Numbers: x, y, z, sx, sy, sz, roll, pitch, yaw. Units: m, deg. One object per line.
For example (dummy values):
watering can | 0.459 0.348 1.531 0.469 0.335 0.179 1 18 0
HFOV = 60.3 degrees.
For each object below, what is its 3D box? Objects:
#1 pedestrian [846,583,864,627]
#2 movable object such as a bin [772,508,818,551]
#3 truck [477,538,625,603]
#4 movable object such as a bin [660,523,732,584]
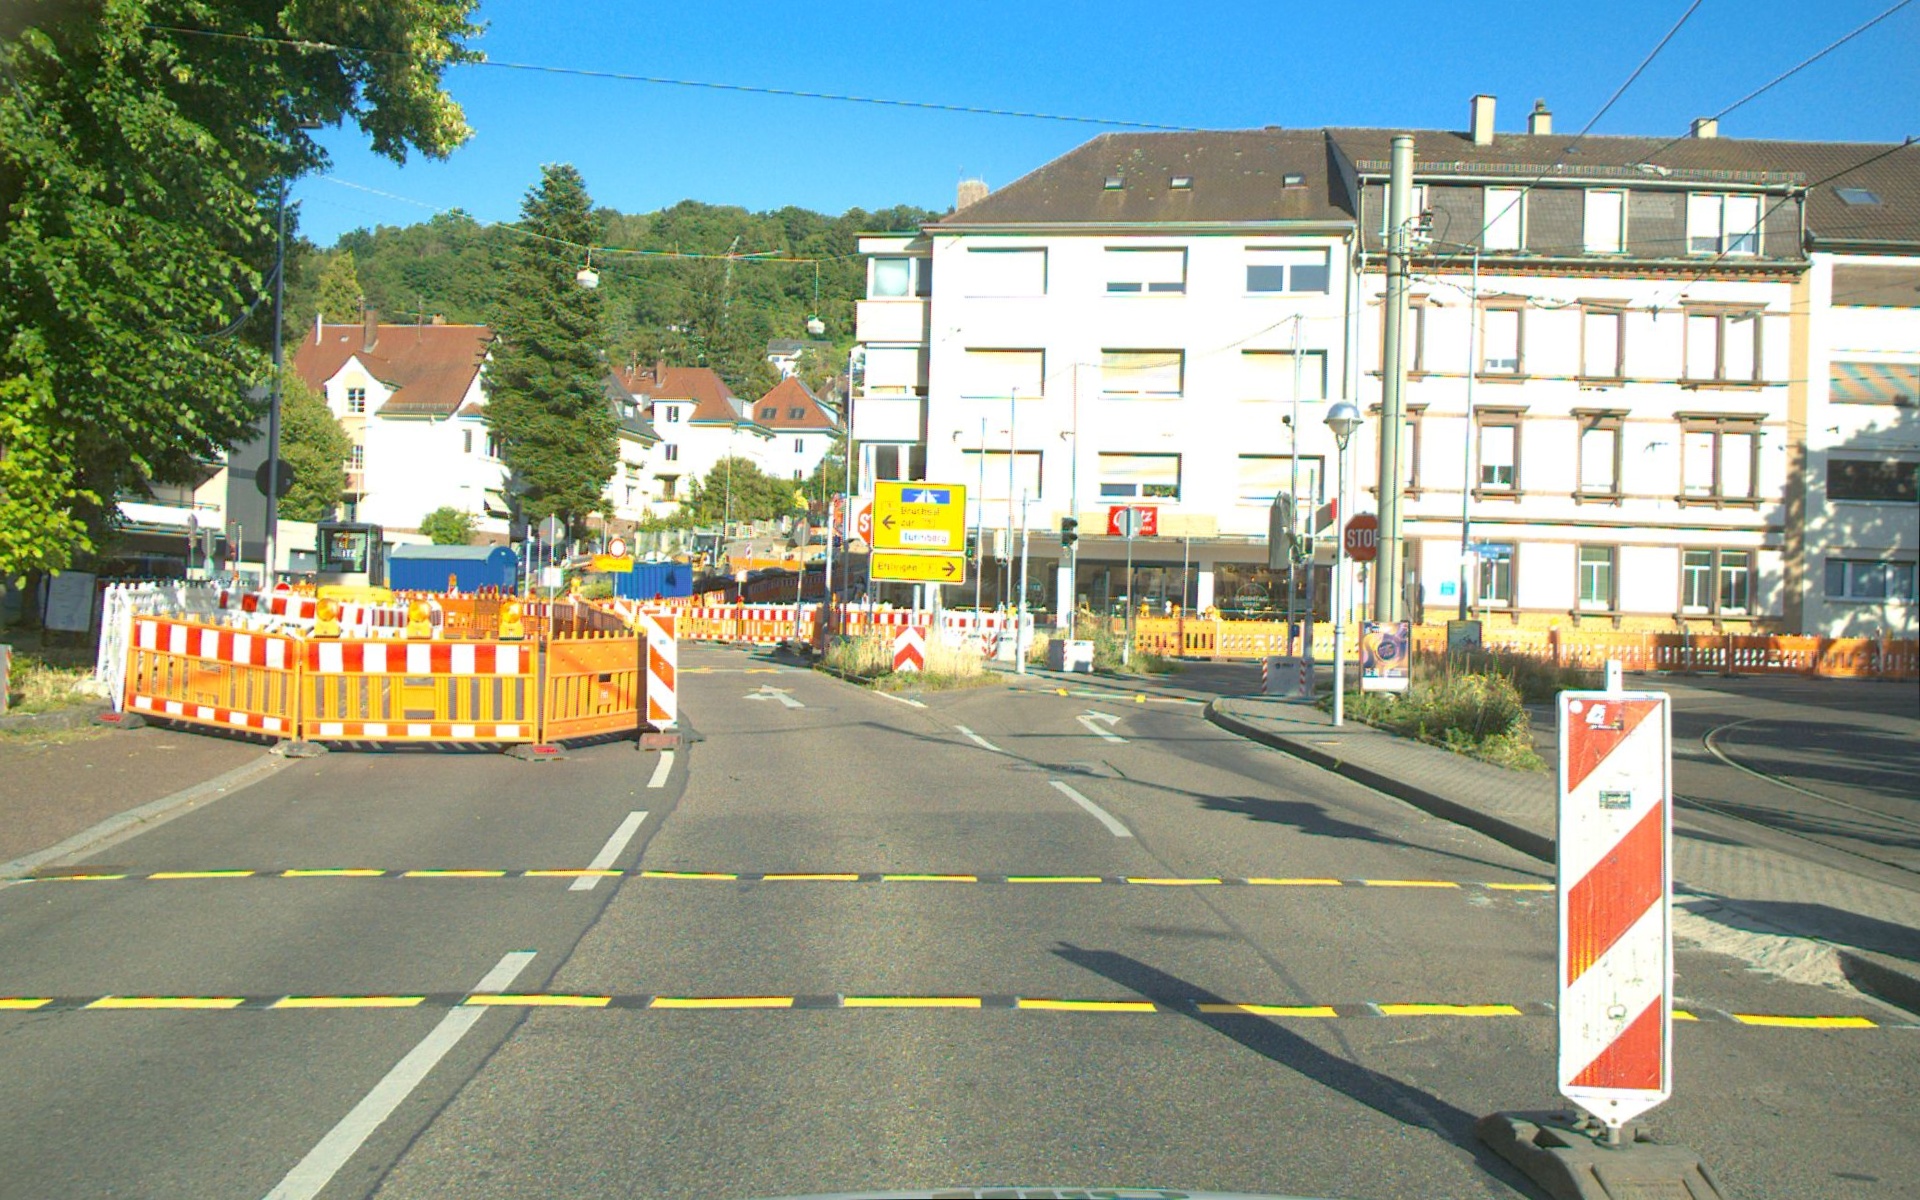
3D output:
pedestrian | -4.305 0.197 67.748 0.627 1.791 0.718 1 0 -1
movable object such as a bin | -11.310 -4.829 113.632 2.144 2.737 4.003 1 0 9
truck | -16.732 -1.139 68.398 2.306 2.458 9.159 1 0 10
movable object such as a bin | -12.573 -2.169 79.017 2.144 2.737 4.003 1 0 9
